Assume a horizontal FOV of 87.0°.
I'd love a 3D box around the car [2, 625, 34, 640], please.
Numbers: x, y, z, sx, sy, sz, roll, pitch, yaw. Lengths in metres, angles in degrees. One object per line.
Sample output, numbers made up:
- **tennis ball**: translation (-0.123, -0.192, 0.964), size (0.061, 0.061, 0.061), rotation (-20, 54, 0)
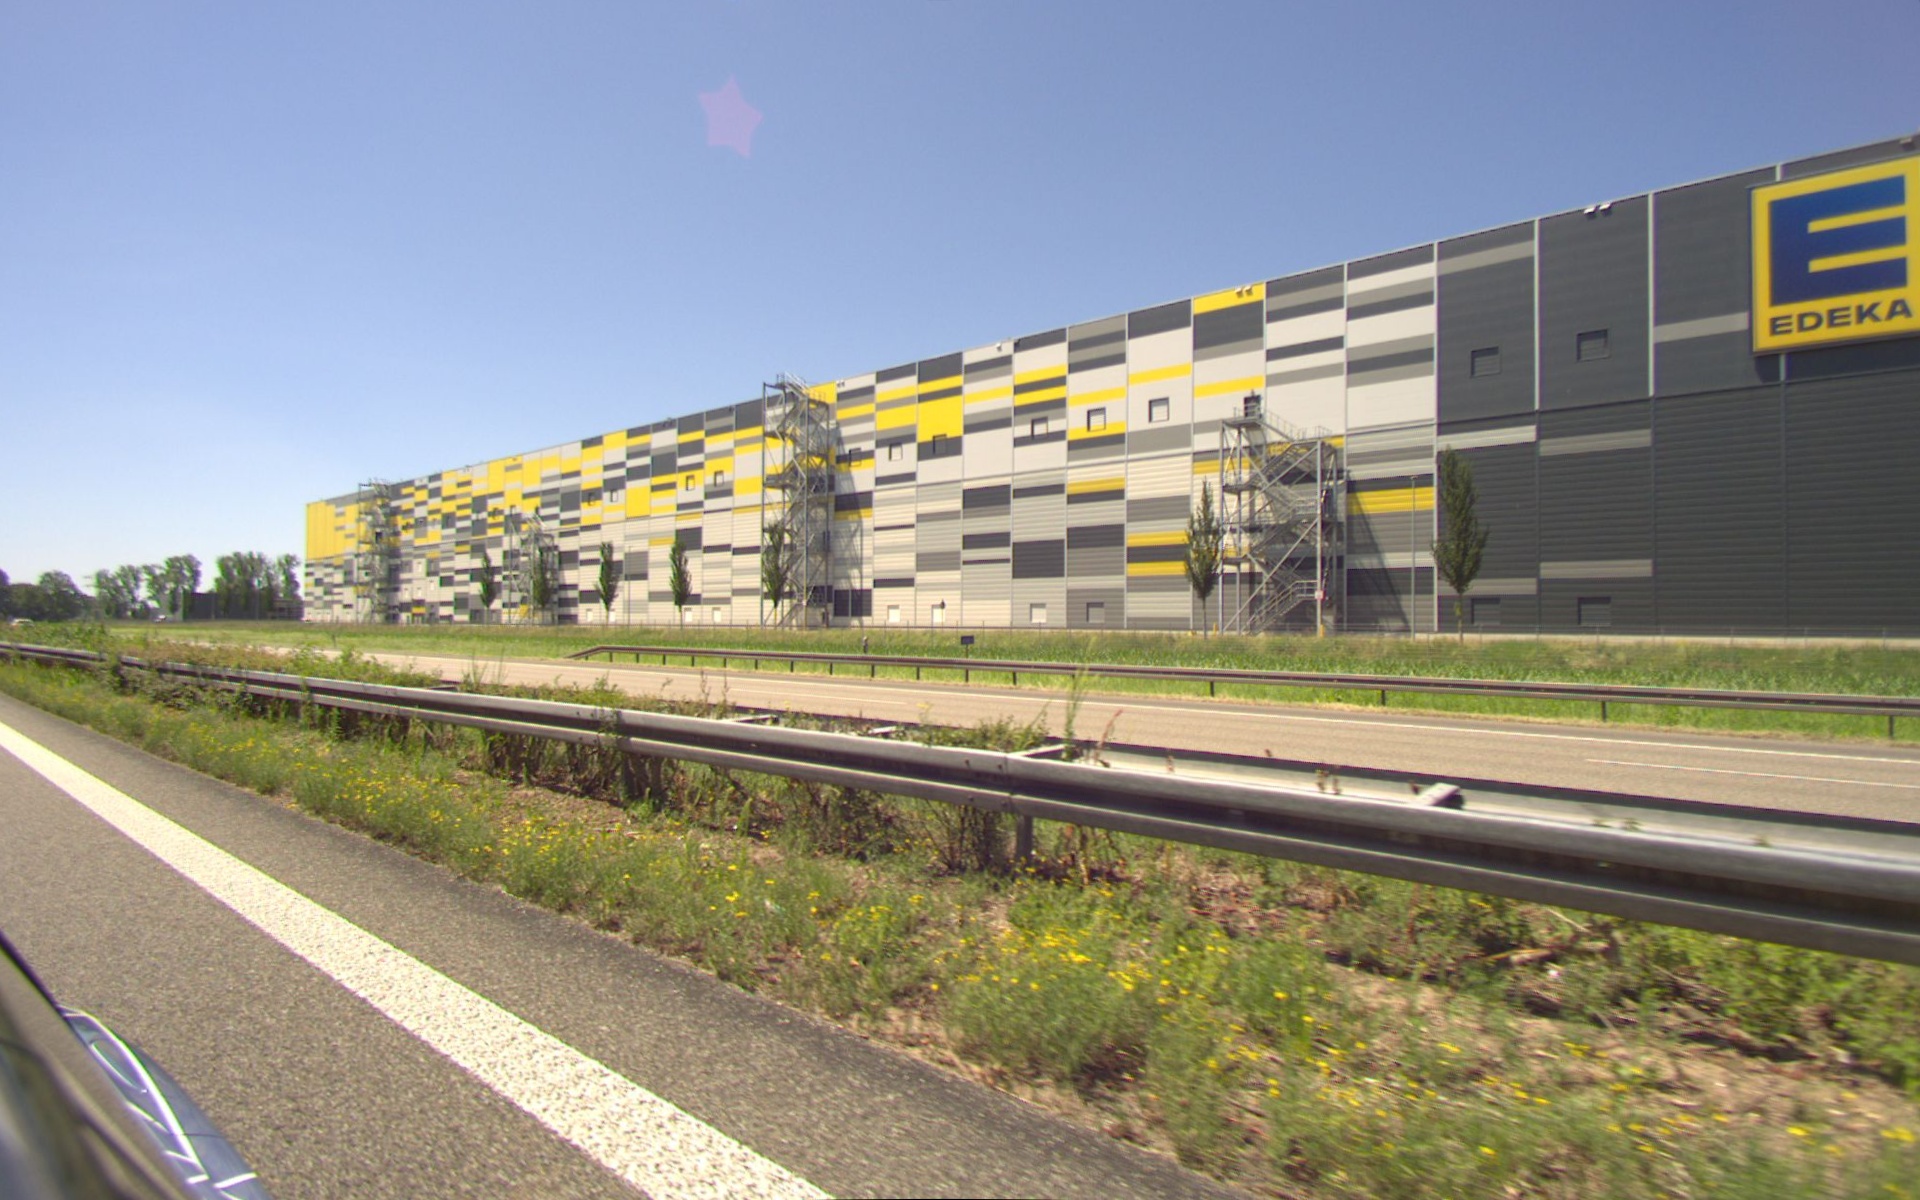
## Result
- **car**: translation (-90.375, 3.122, 97.082), size (4.657, 1.438, 1.616), rotation (-1, -3, 40)
